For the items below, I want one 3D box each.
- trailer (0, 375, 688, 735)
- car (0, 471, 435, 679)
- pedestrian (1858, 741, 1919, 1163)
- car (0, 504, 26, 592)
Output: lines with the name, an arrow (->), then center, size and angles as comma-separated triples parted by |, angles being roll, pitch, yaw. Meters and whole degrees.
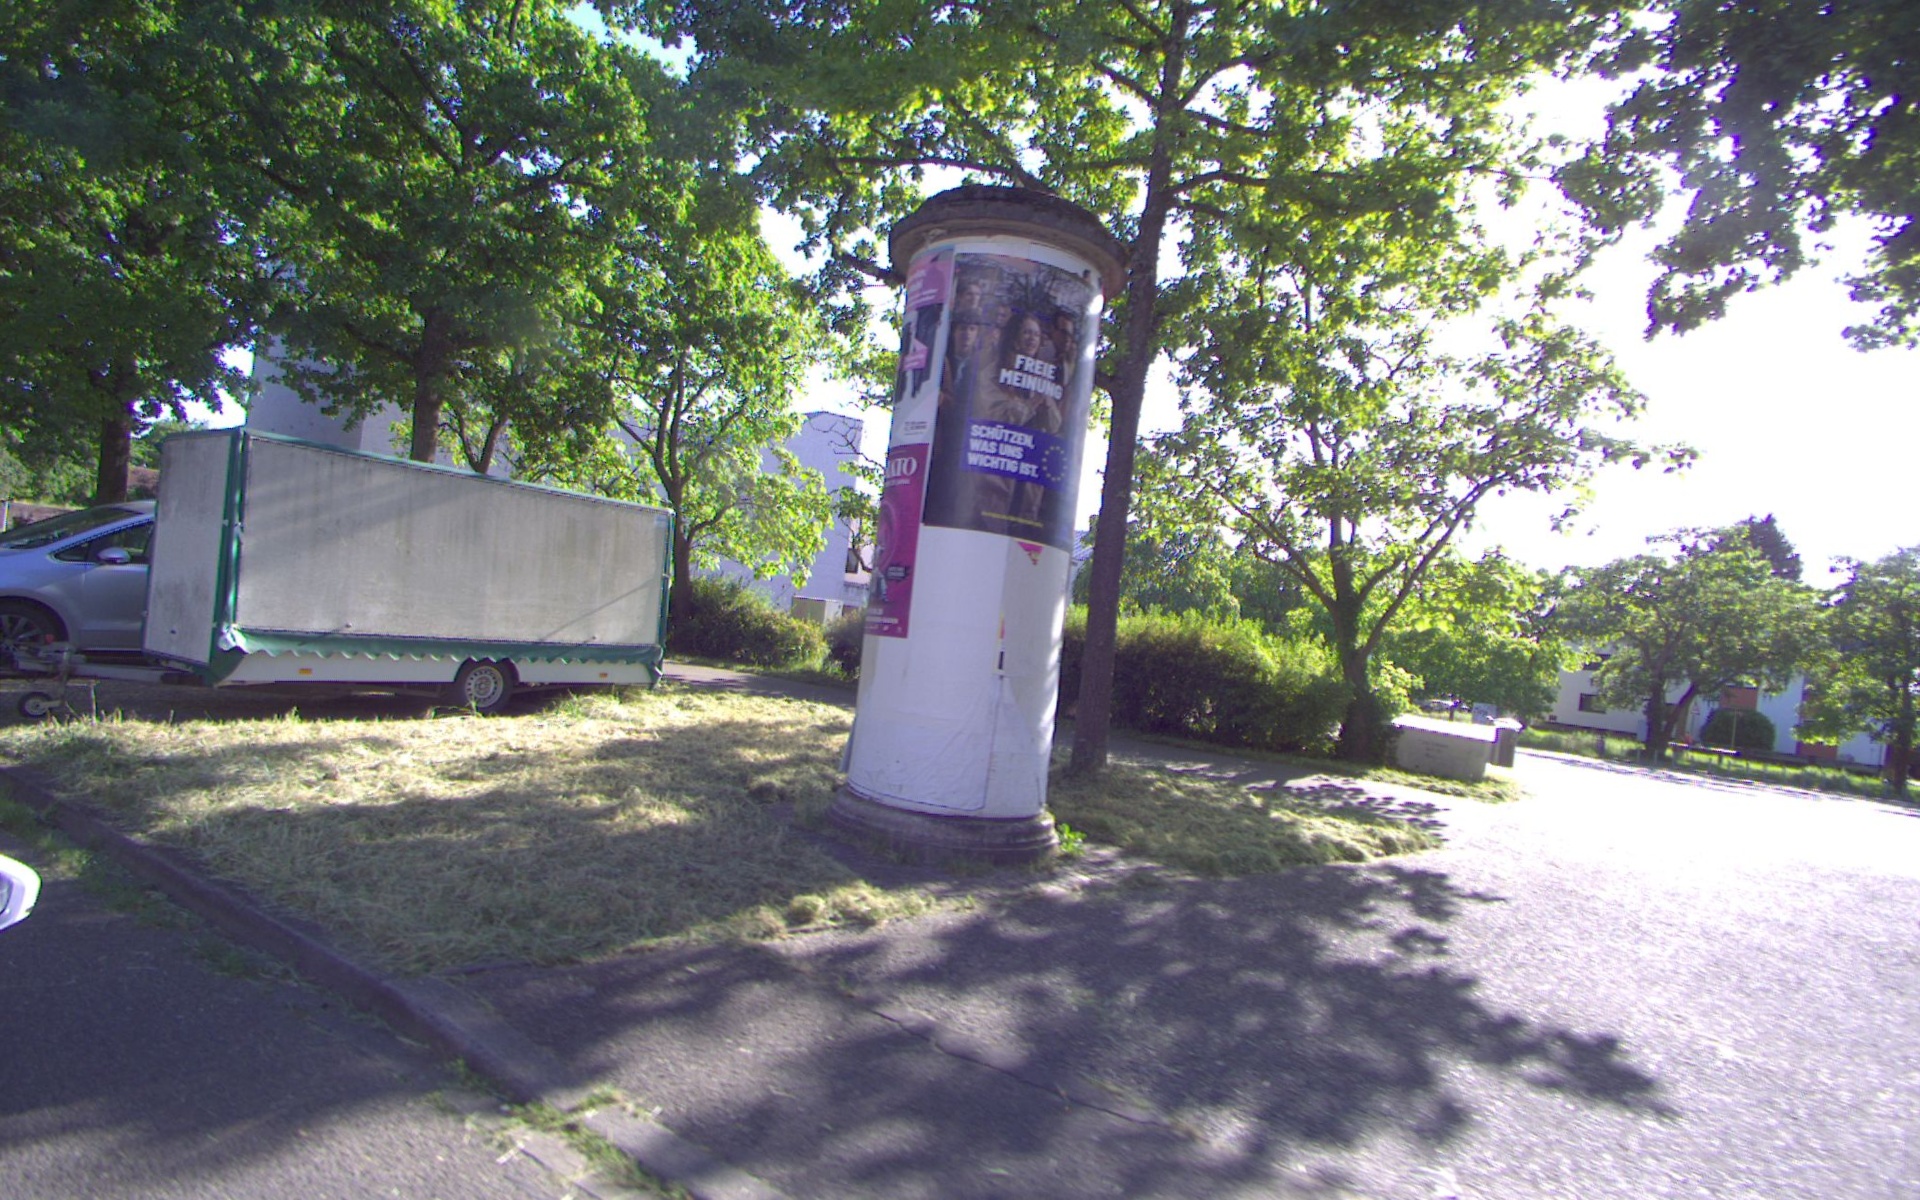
trailer -> -5.429, -0.158, 9.380 | 1.659, 2.346, 5.778 | 6, 0, 33
car -> -8.181, -0.194, 10.170 | 1.955, 1.743, 4.646 | 6, -1, 32
pedestrian -> 4.109, 1.371, 3.835 | 0.873, 1.518, 0.938 | 7, 0, 44
car -> -18.881, -1.157, 16.882 | 2.044, 1.537, 4.250 | 6, -1, 33
